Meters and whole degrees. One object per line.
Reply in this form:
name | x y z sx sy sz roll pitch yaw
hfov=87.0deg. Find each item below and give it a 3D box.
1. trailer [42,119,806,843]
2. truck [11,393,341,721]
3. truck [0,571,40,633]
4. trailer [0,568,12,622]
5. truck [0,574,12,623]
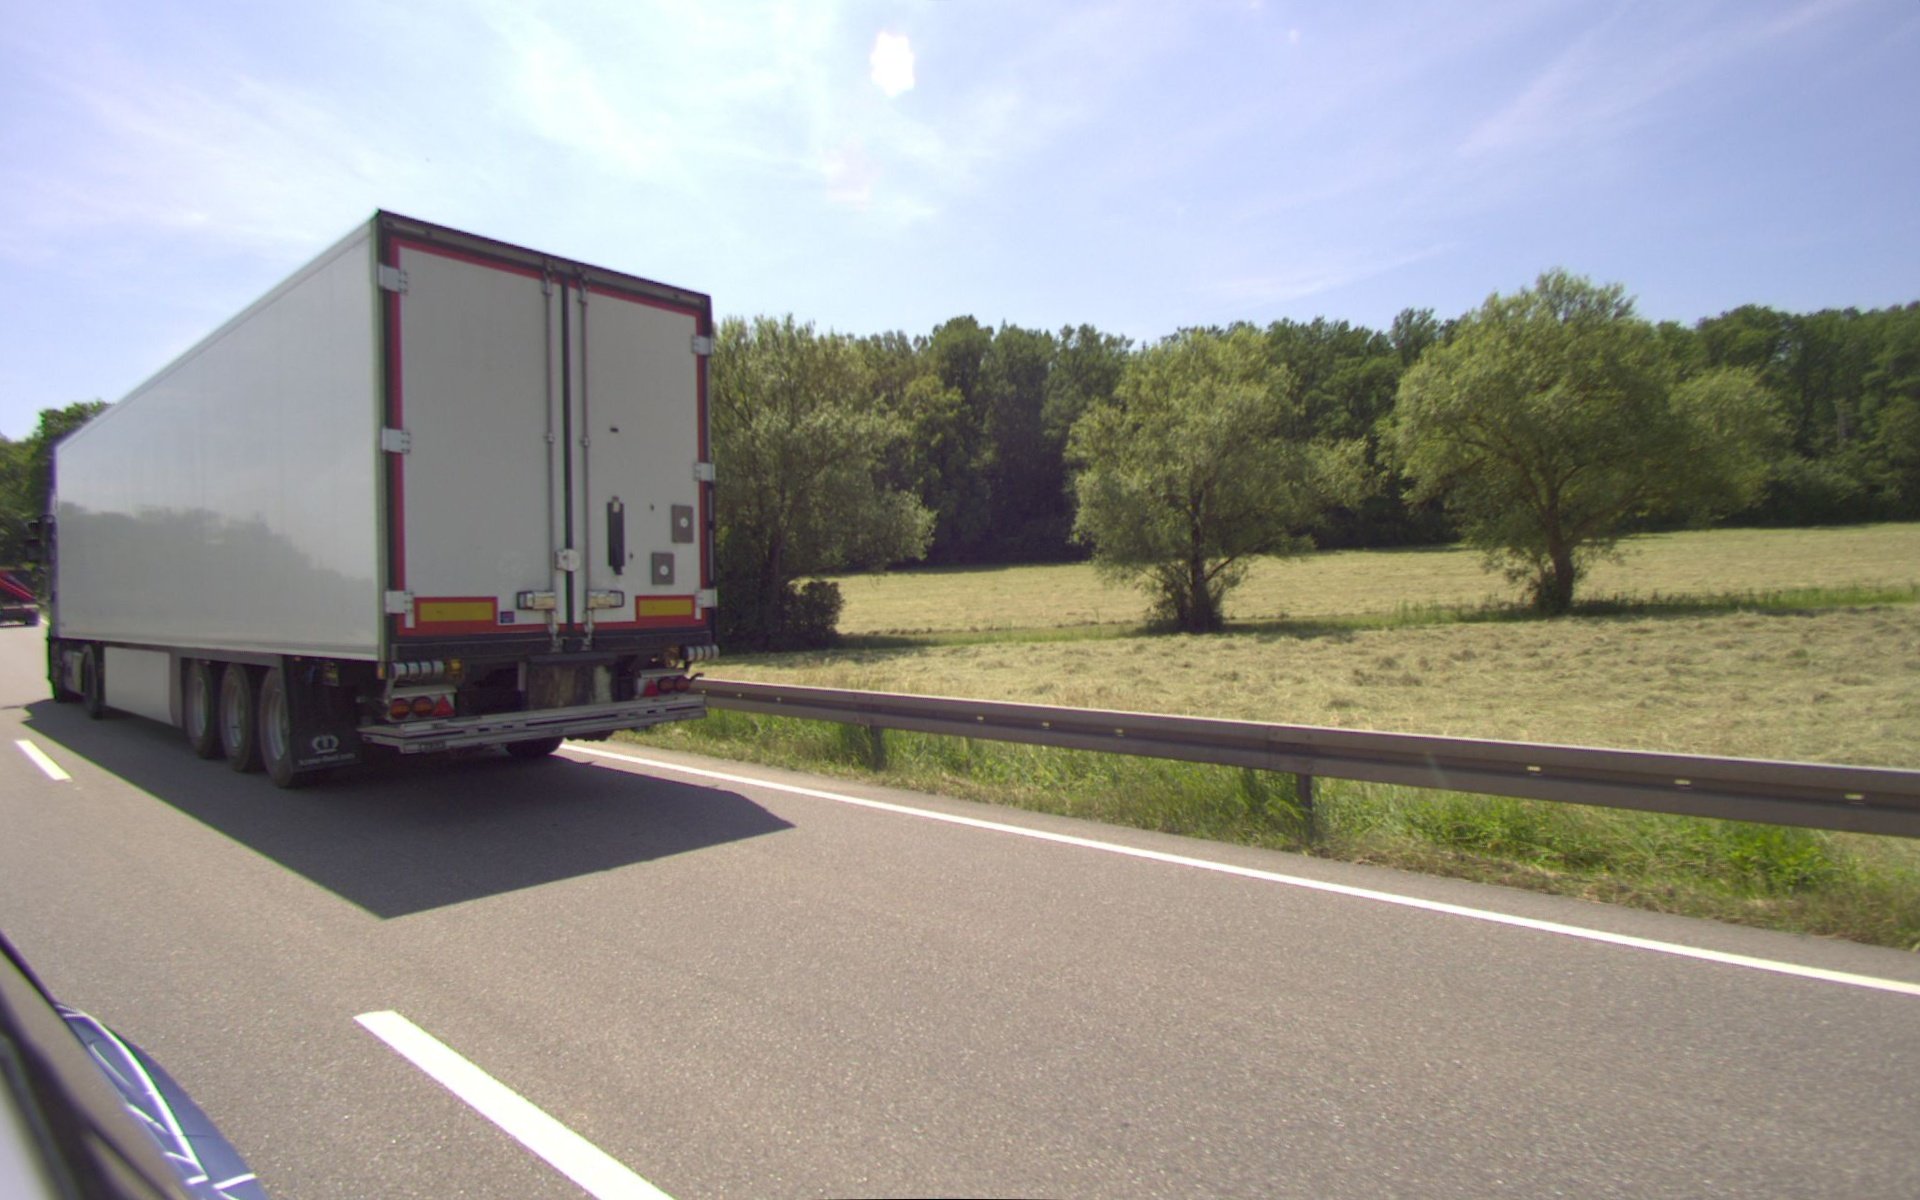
trailer | -7.591 -0.639 11.991 13.739 4.434 3.338 -1 -1 41
truck | -13.061 -0.568 16.755 5.443 4.434 3.338 0 0 41
truck | -60.018 0.112 63.923 2.671 3.677 10.111 -2 2 -43
trailer | -86.308 -0.311 89.976 2.671 4.552 14.271 -3 2 -43
truck | -91.405 -0.063 95.459 2.671 4.552 6.470 -3 2 -43
